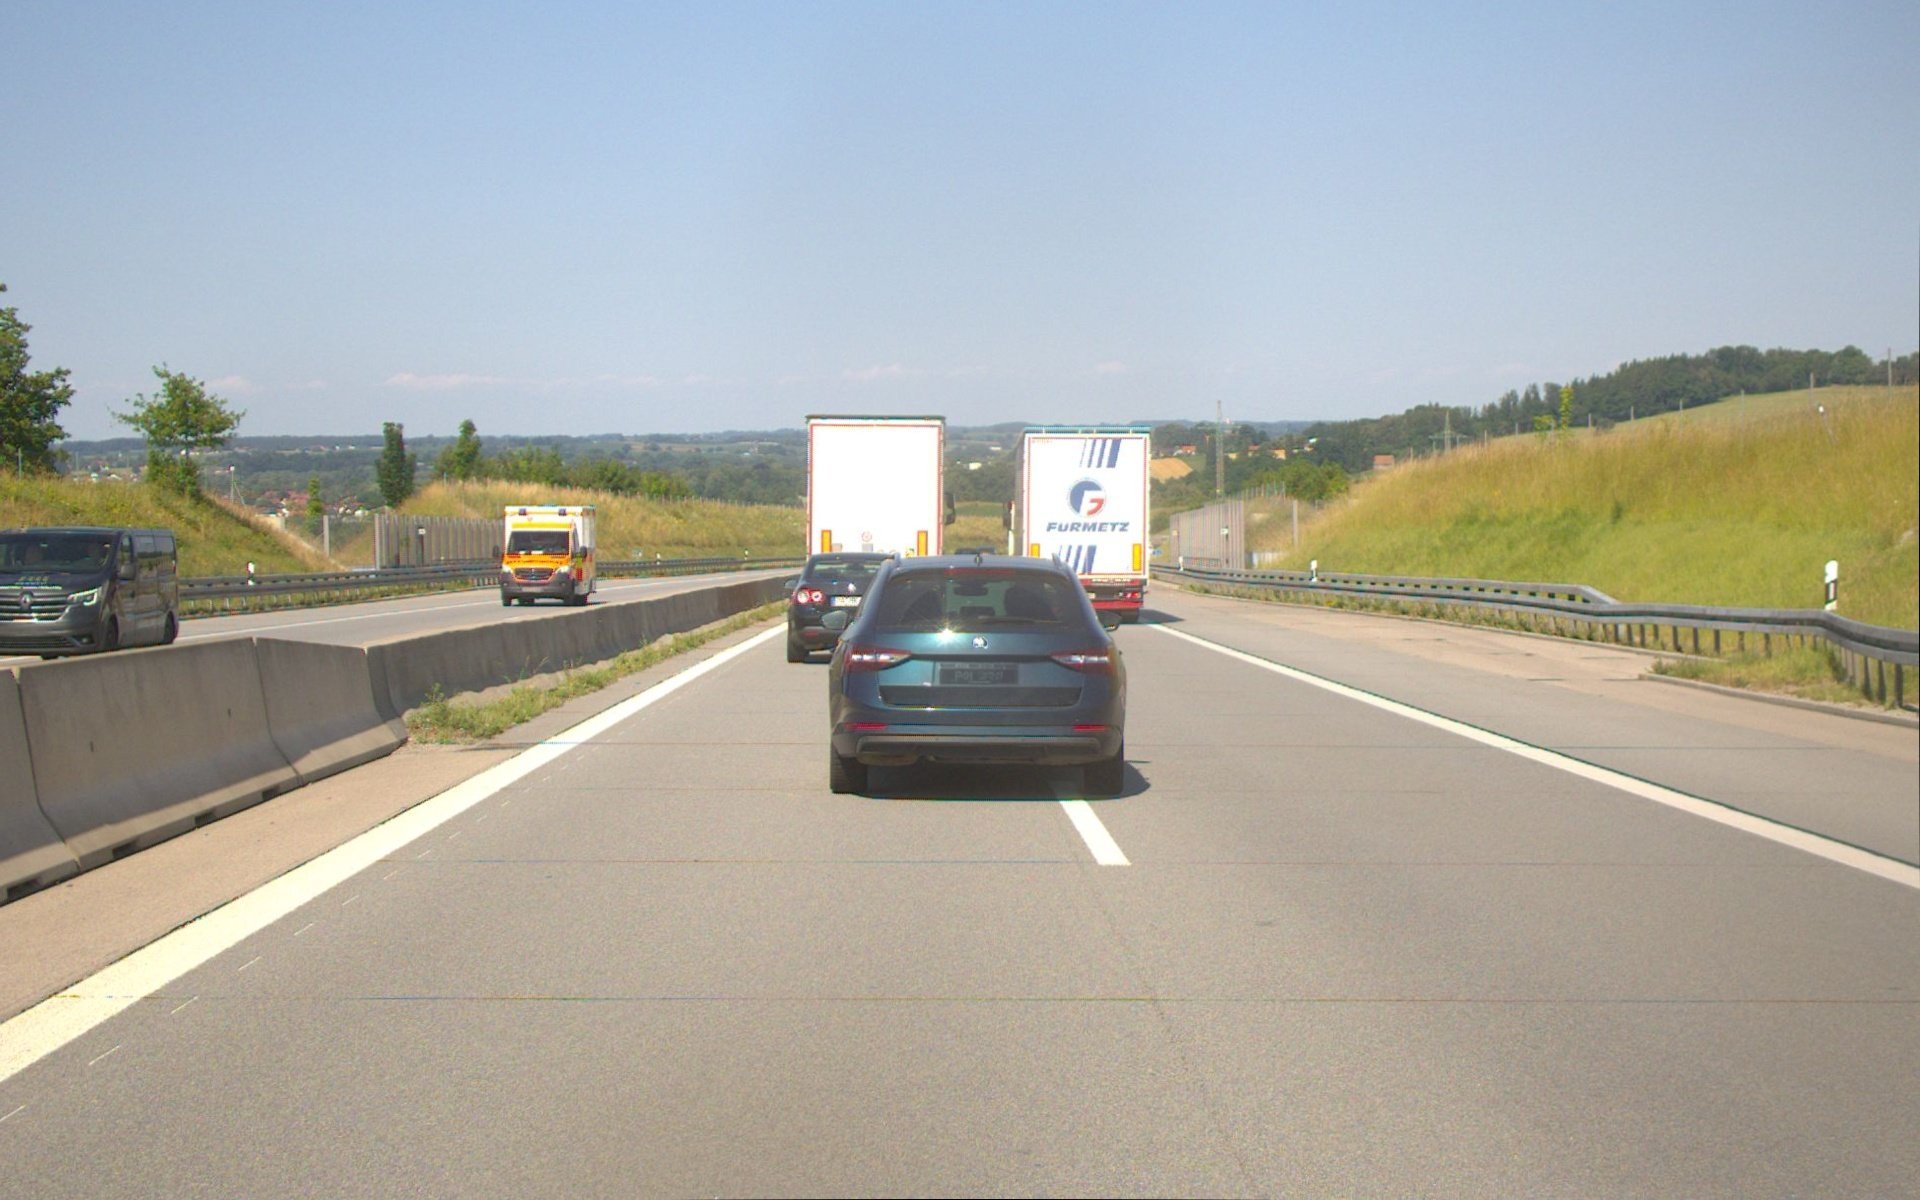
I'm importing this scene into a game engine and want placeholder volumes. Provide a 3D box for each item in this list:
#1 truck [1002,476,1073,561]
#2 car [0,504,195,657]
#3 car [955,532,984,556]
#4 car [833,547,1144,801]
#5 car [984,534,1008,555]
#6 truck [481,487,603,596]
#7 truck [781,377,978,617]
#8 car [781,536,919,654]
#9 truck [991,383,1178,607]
[{"bbox_3d":[4.297,-4.447,188.576,3.604,4.366,11.233,-2,1,2],"label":"truck"},{"bbox_3d":[-12.206,-0.309,48.009,1.993,2.007,4.970,1,1,-1],"label":"car"},{"bbox_3d":[0.583,-3.370,205.726,1.700,1.436,4.000,0,1,0],"label":"car"},{"bbox_3d":[0.096,0.398,21.652,1.776,1.436,3.789,0,1,-2],"label":"car"},{"bbox_3d":[2.600,-3.995,247.089,1.700,1.436,4.000,0,1,0],"label":"car"},{"bbox_3d":[-11.880,-1.688,98.221,2.774,3.011,6.793,0,1,-1],"label":"truck"},{"bbox_3d":[-1.473,-2.046,69.898,3.211,4.366,11.233,-2,1,2],"label":"truck"},{"bbox_3d":[-1.476,-0.100,45.751,1.700,1.436,4.001,-2,1,-2],"label":"car"},{"bbox_3d":[2.658,-2.234,74.769,3.604,4.366,11.233,-2,1,2],"label":"truck"}]
